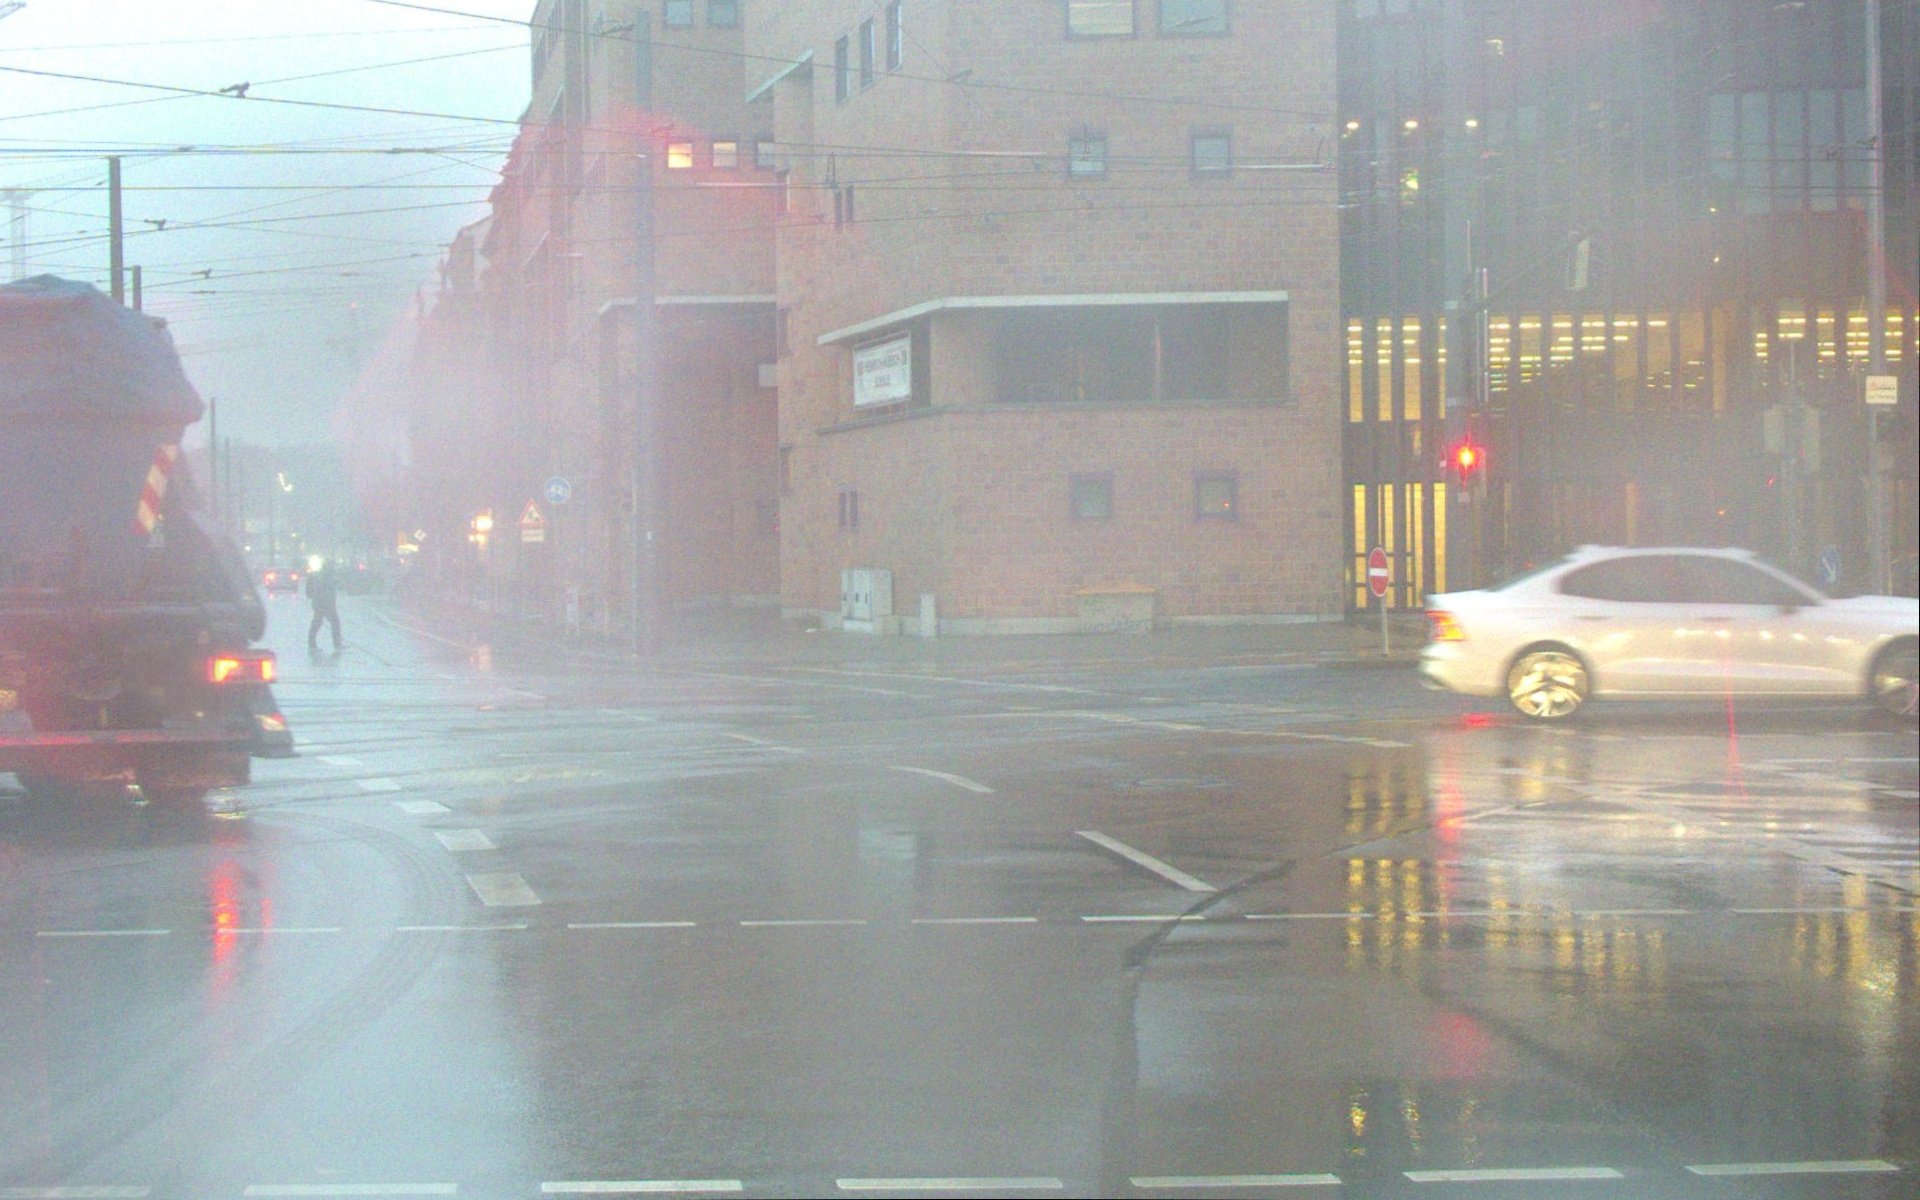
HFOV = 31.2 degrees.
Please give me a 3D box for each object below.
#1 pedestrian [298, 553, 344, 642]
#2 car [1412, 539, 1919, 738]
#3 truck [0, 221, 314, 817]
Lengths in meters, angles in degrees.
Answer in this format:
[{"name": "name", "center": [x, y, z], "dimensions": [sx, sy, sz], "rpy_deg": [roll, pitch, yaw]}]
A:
[{"name": "pedestrian", "center": [-12.309, -0.051, 66.209], "dimensions": [0.843, 1.681, 0.649], "rpy_deg": [-1, 1, -10]}, {"name": "car", "center": [6.269, 0.301, 28.531], "dimensions": [4.820, 1.556, 2.049], "rpy_deg": [-1, 1, 12]}, {"name": "truck", "center": [-7.506, -0.528, 24.318], "dimensions": [2.840, 3.621, 7.525], "rpy_deg": [-1, 1, -35]}]
